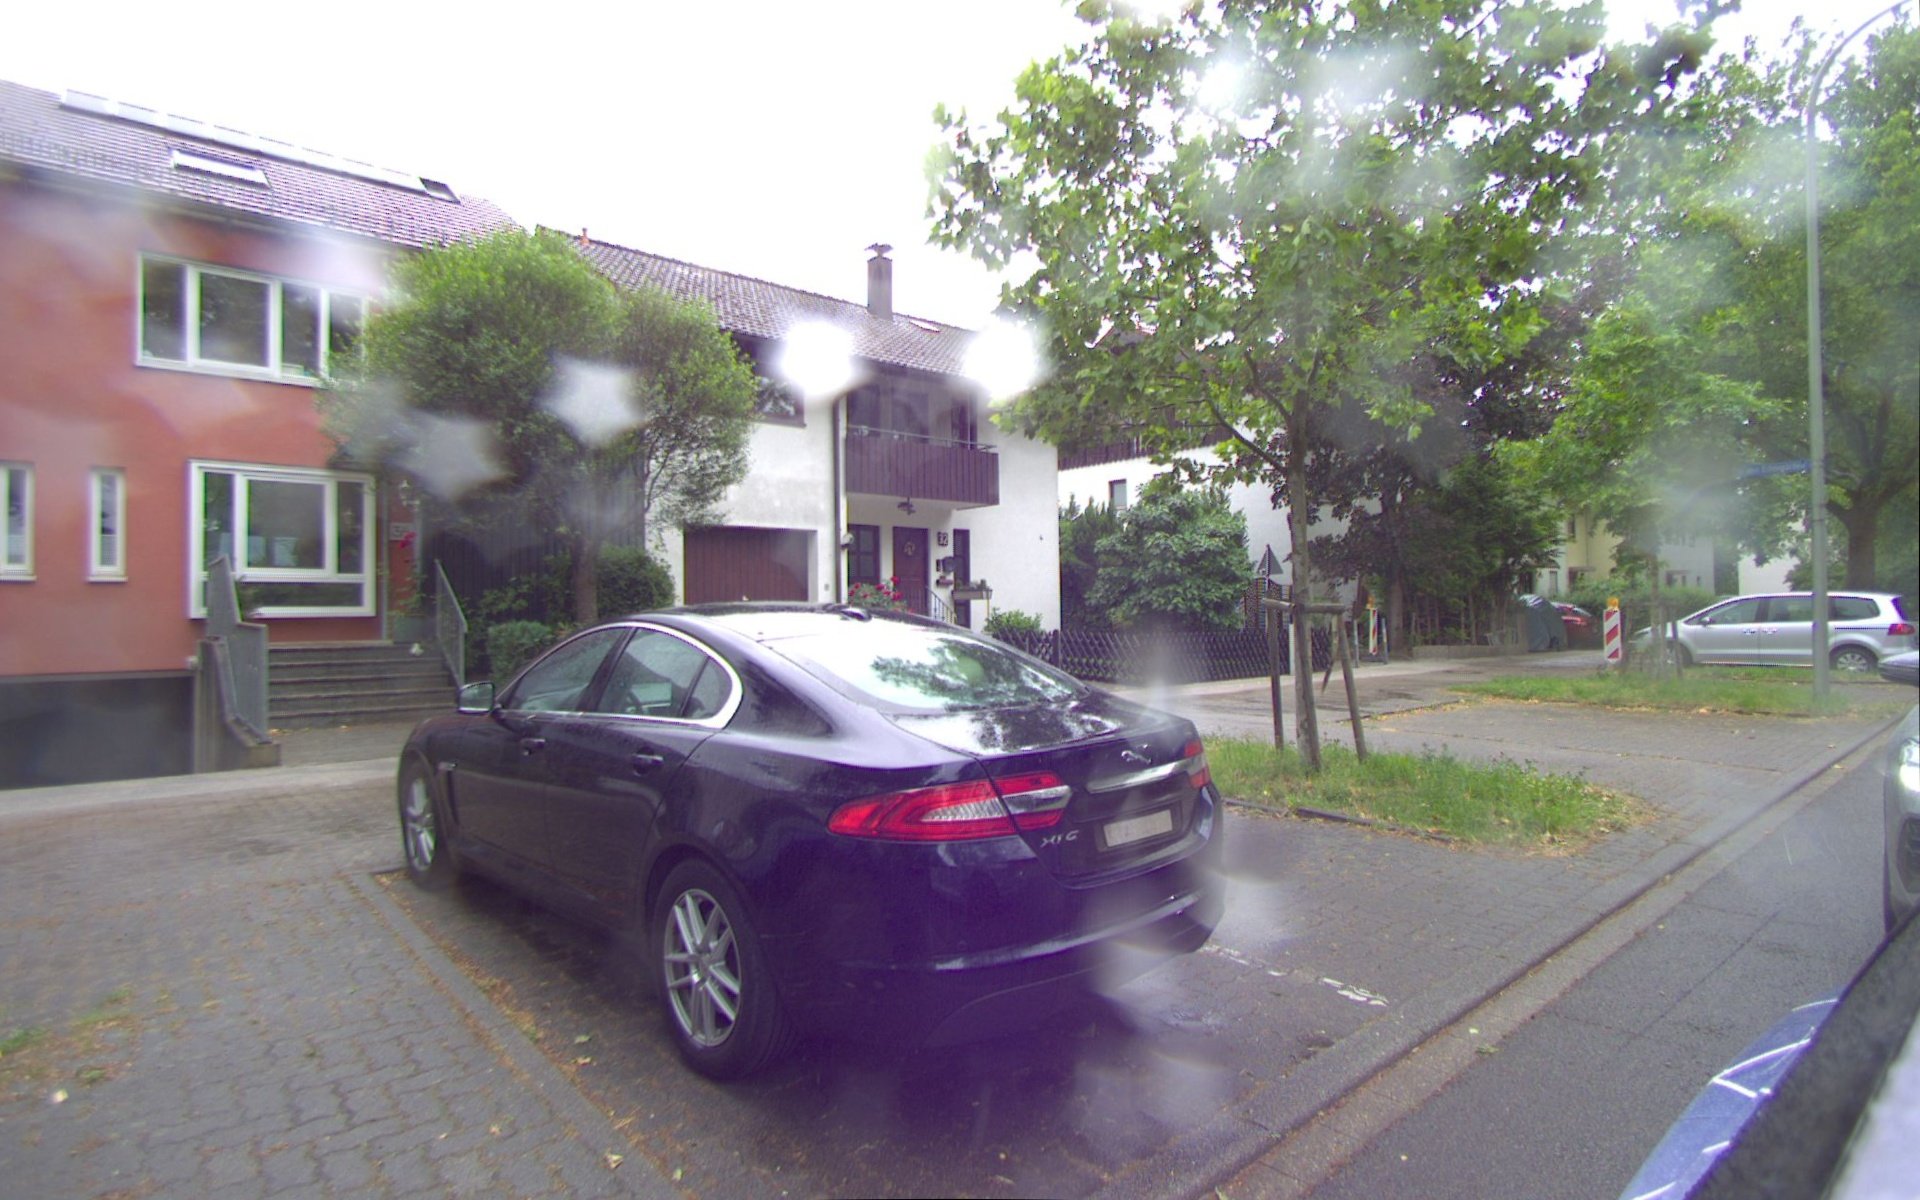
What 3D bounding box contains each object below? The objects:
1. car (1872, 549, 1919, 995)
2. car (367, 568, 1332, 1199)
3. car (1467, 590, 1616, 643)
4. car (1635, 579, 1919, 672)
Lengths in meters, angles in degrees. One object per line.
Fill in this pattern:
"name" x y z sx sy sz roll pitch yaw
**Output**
"car" 5.688 0.634 4.523 4.346 1.638 1.861 0 0 -41
"car" -0.995 0.670 4.676 1.906 1.491 4.768 0 0 -45
"car" 18.967 0.516 33.133 1.809 1.633 3.853 0 0 -39
"car" 16.690 0.463 20.511 1.942 1.682 4.694 0 0 -42
